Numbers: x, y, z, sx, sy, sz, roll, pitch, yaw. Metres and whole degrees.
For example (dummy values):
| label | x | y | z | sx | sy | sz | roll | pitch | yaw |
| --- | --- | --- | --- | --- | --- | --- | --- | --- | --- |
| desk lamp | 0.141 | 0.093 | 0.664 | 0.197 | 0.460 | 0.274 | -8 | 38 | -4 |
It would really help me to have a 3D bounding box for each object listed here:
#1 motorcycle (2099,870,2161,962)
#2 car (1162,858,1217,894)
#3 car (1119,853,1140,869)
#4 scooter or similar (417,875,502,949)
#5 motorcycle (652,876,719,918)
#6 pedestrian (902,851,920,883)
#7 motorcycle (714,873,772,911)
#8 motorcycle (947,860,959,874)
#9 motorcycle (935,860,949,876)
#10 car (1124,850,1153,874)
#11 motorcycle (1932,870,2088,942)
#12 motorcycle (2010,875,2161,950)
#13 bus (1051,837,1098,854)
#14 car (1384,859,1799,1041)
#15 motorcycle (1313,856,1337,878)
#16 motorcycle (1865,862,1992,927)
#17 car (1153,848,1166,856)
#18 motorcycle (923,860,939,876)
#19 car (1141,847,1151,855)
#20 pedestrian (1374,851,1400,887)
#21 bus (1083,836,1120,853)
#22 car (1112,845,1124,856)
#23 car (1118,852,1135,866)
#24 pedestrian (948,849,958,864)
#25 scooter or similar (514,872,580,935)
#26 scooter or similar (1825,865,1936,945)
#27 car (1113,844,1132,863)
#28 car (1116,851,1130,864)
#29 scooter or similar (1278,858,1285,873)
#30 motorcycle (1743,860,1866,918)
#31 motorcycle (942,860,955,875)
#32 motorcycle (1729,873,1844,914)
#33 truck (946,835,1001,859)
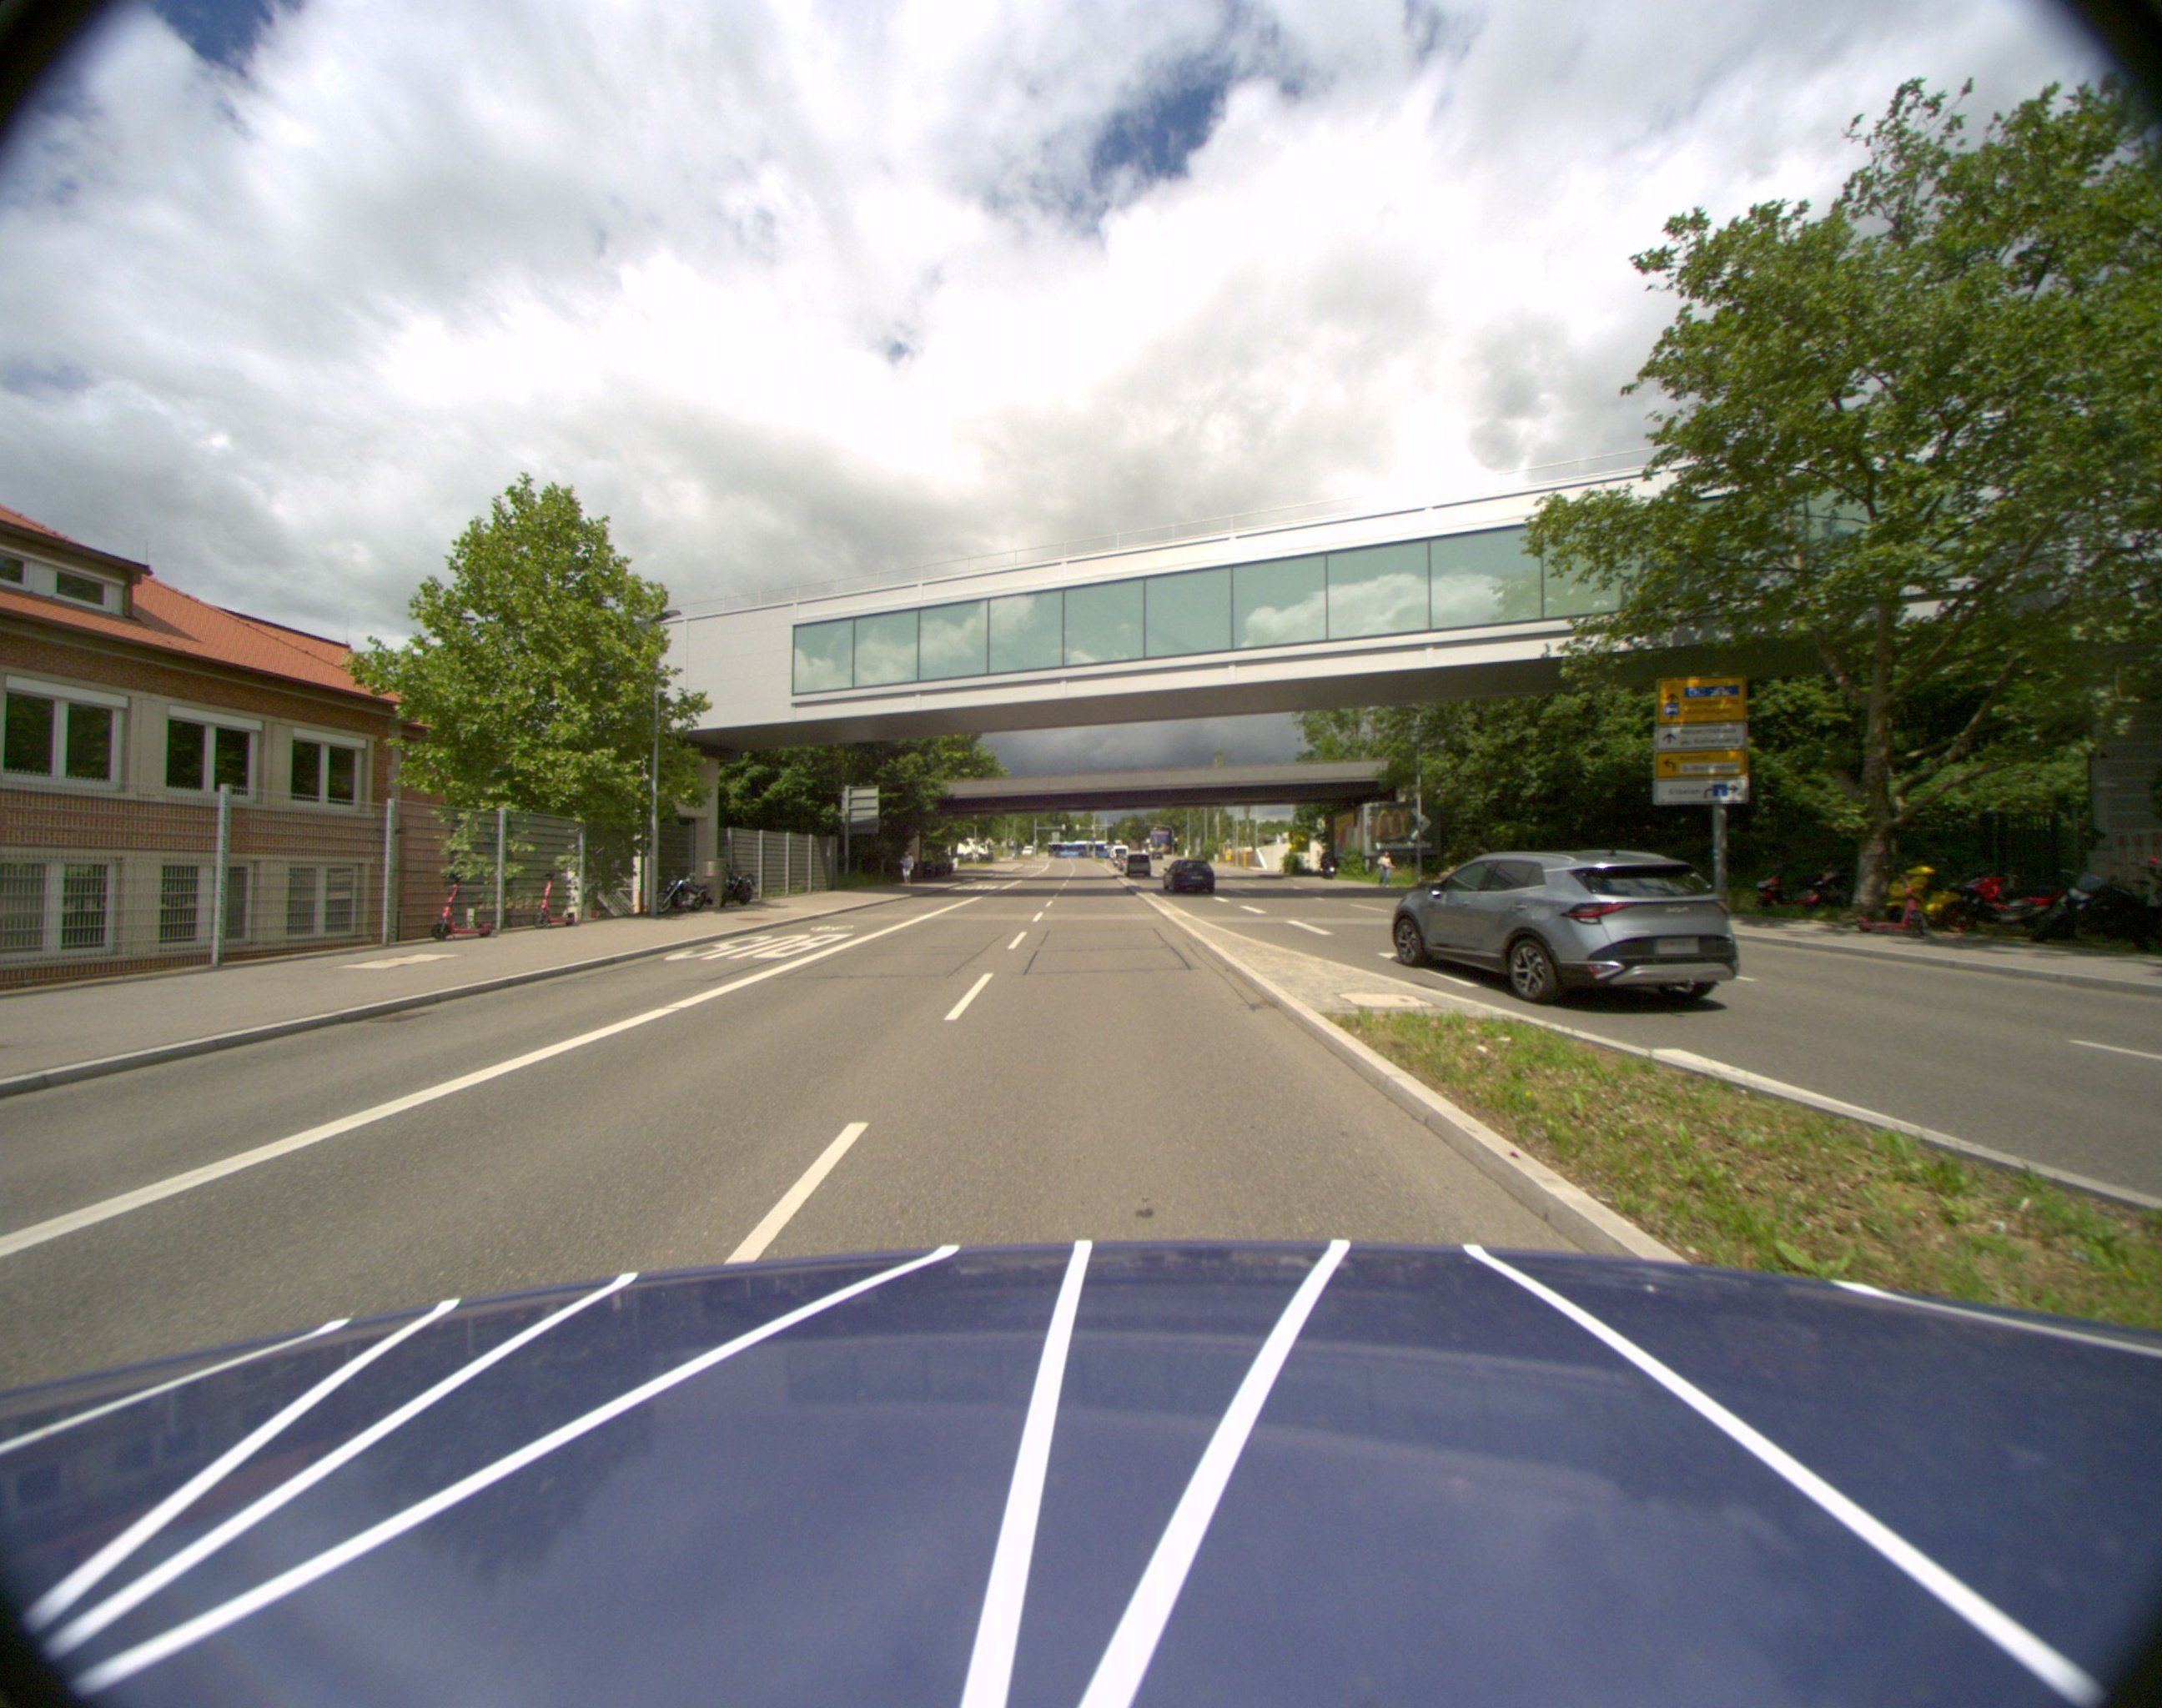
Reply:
| label | x | y | z | sx | sy | sz | roll | pitch | yaw |
| --- | --- | --- | --- | --- | --- | --- | --- | --- | --- |
| motorcycle | 15.257 | 0.820 | 10.399 | 1.752 | 1.171 | 0.852 | -2 | -1 | -10 |
| car | 4.781 | 0.945 | 33.963 | 1.713 | 1.445 | 4.479 | -1 | 0 | -1 |
| car | 4.616 | 0.665 | 72.510 | 1.713 | 1.480 | 3.983 | 0 | 0 | 0 |
| scooter or similar | -11.691 | 1.056 | 14.344 | 0.492 | 1.287 | 1.336 | 1 | 0 | 1 |
| motorcycle | -11.152 | 1.188 | 21.533 | 0.670 | 1.058 | 2.247 | 2 | 0 | 1 |
| pedestrian | -9.976 | 0.758 | 44.661 | 0.791 | 1.876 | 1.097 | 0 | 1 | 0 |
| motorcycle | -10.923 | 1.199 | 24.661 | 0.709 | 1.058 | 2.510 | 2 | 0 | 1 |
| motorcycle | -10.402 | 1.019 | 61.785 | 0.679 | 1.076 | 2.180 | 0 | 0 | 0 |
| motorcycle | -10.431 | 1.026 | 56.987 | 0.679 | 1.136 | 2.160 | 0 | 0 | 0 |
| car | 4.316 | 0.586 | 57.779 | 1.813 | 1.770 | 4.978 | -1 | 0 | 1 |
| motorcycle | 15.727 | 0.869 | 12.894 | 1.594 | 1.116 | 0.776 | -3 | -1 | 2 |
| motorcycle | 15.416 | 0.868 | 11.528 | 1.594 | 1.027 | 0.776 | -3 | -1 | 2 |
| bus | -1.405 | -1.592 | 147.911 | 9.759 | 2.919 | 2.657 | -1 | 2 | 41 |
| car | 5.582 | 0.892 | 9.147 | 1.910 | 1.621 | 4.291 | -1 | 0 | -4 |
| motorcycle | 14.053 | 0.746 | 43.833 | 0.641 | 1.191 | 2.257 | -3 | 1 | 0 |
| motorcycle | 15.736 | 0.740 | 14.129 | 1.596 | 1.116 | 0.776 | -2 | -1 | -8 |
| car | 12.982 | -0.327 | 125.775 | 1.998 | 1.346 | 4.000 | 0 | 0 | 3 |
| motorcycle | -10.727 | 0.981 | 54.540 | 0.679 | 1.148 | 2.113 | 0 | 0 | 2 |
| car | 13.098 | -0.603 | 153.249 | 1.998 | 1.478 | 4.000 | 0 | 0 | 3 |
| pedestrian | 13.988 | 0.692 | 34.777 | 0.769 | 1.602 | 0.813 | -3 | 1 | 0 |
| bus | 3.717 | -1.692 | 141.971 | 2.656 | 2.929 | 8.517 | -3 | 1 | -30 |
| car | 6.360 | -0.628 | 130.245 | 1.827 | 1.796 | 4.255 | -1 | 0 | 0 |
| car | 4.803 | 0.502 | 80.870 | 1.509 | 1.480 | 3.115 | -1 | 0 | -1 |
| pedestrian | -15.025 | 0.299 | 89.233 | 0.952 | 1.801 | 0.717 | 0 | 1 | -23 |
| scooter or similar | -11.661 | 1.056 | 16.644 | 0.492 | 1.287 | 1.336 | 1 | 0 | 1 |
| scooter or similar | 13.657 | 0.840 | 13.030 | 0.355 | 1.229 | 1.479 | -2 | 1 | 1 |
| car | 5.688 | -0.093 | 103.465 | 2.044 | 2.458 | 5.575 | -1 | 0 | 7 |
| car | 4.971 | 0.434 | 90.029 | 1.572 | 1.522 | 2.738 | -1 | 0 | 0 |
| scooter or similar | 14.985 | 0.827 | 56.866 | 0.477 | 1.114 | 1.385 | 0 | 0 | 12 |
| motorcycle | 15.577 | 0.752 | 16.401 | 1.745 | 1.164 | 0.777 | -3 | -1 | 9 |
| motorcycle | -10.351 | 1.049 | 59.387 | 0.679 | 1.076 | 2.038 | 0 | 0 | 0 |
| motorcycle | 16.164 | 0.910 | 17.470 | 1.744 | 0.863 | 0.777 | -3 | -1 | 21 |
| truck | -19.042 | -1.200 | 134.284 | 10.058 | 3.981 | 2.795 | -1 | 0 | 32 |
